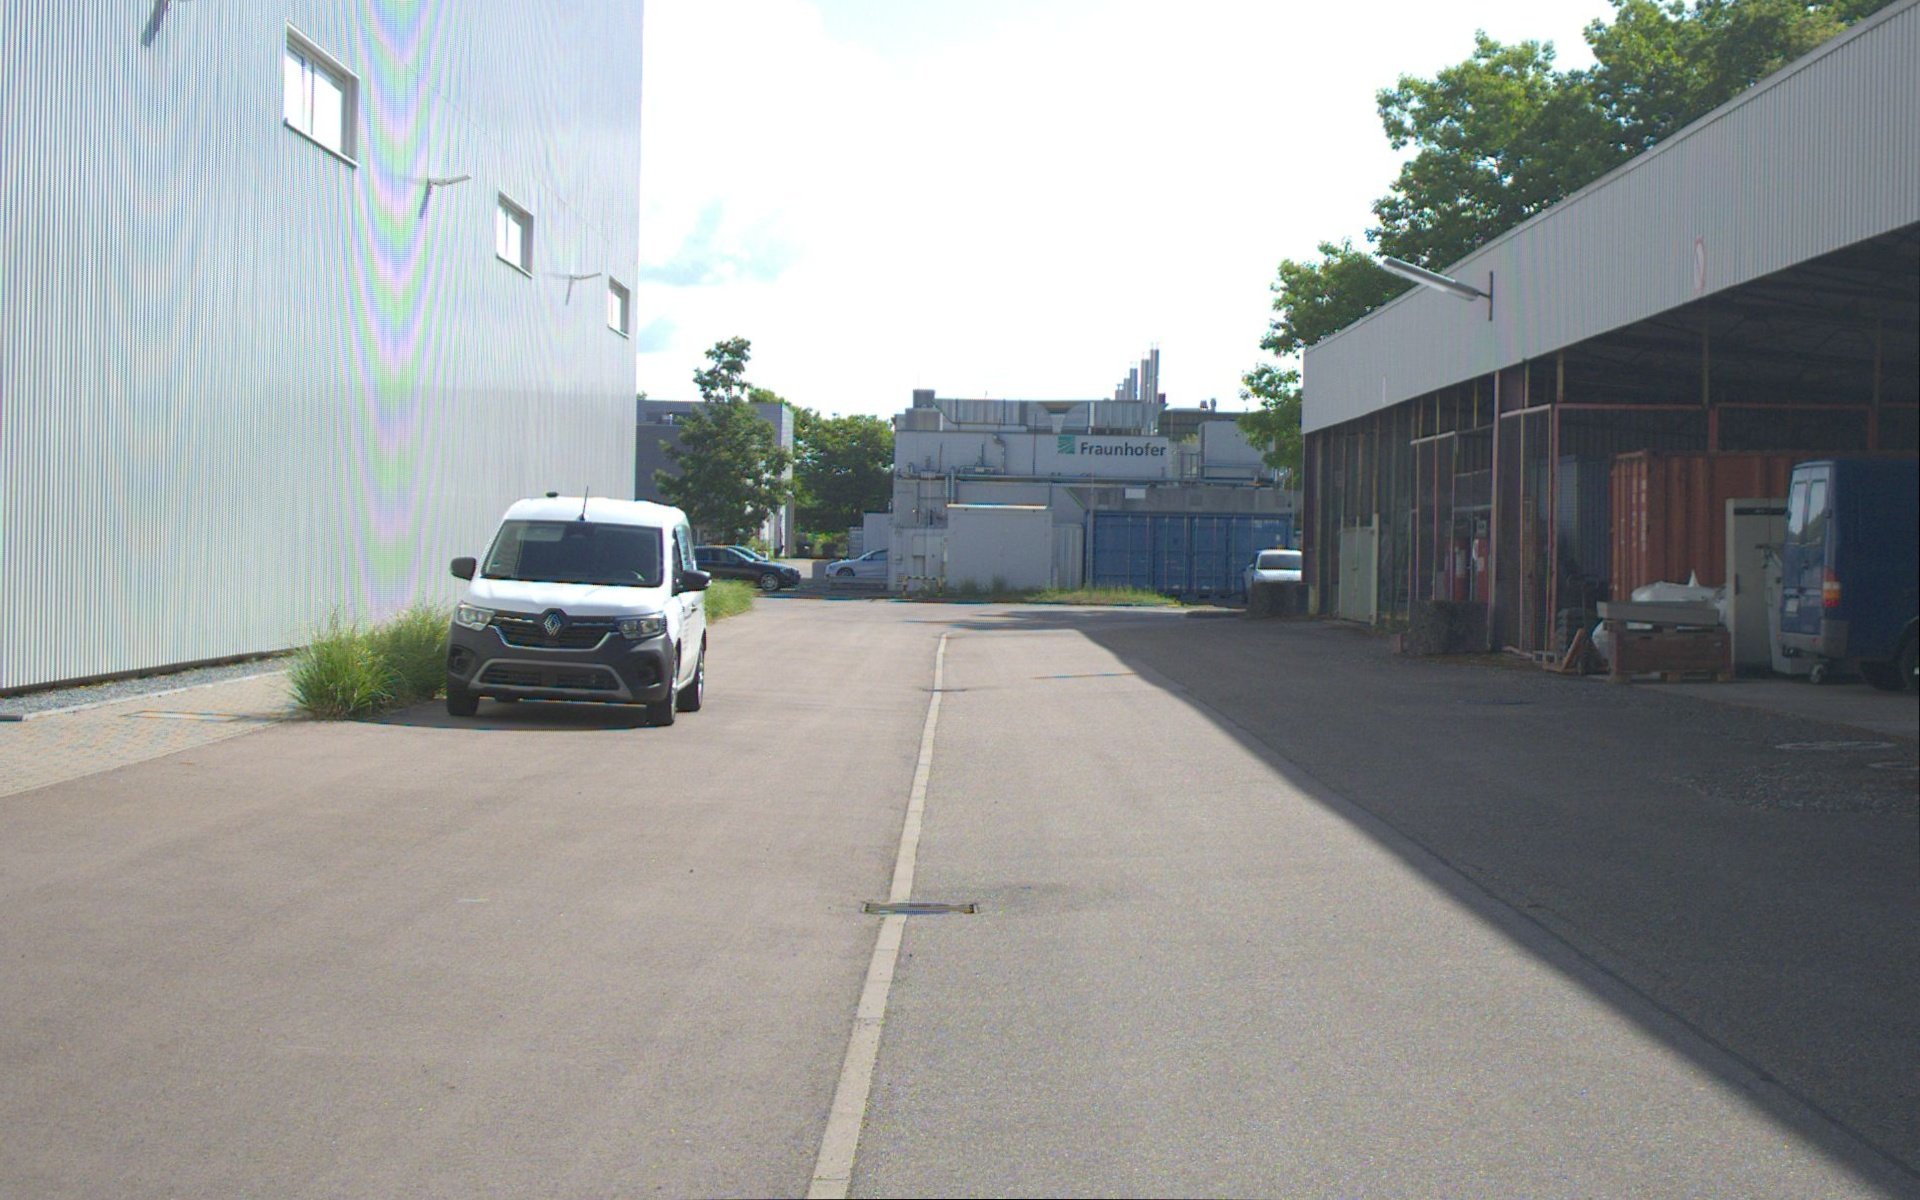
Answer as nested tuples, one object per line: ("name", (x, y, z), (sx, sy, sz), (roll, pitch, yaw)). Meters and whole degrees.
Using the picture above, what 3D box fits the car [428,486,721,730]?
("car", (-3.095, 0.013, 28.446), (1.819, 1.781, 4.405), (3, 1, 1))

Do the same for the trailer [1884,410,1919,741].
("trailer", (8.189, -0.155, 24.877), (2.523, 2.390, 1.727), (1, 0, 1))

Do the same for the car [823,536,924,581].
("car", (-3.477, -1.682, 138.545), (3.987, 1.592, 1.848), (3, -1, -1))

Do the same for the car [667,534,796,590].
("car", (-7.331, -1.220, 110.702), (3.987, 1.592, 1.742), (3, -1, -1))

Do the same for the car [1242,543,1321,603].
("car", (9.159, -0.781, 98.133), (1.962, 1.559, 4.059), (2, 1, 2))

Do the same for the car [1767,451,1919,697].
("car", (10.371, -0.158, 33.644), (4.433, 2.302, 1.915), (2, -1, 1))
